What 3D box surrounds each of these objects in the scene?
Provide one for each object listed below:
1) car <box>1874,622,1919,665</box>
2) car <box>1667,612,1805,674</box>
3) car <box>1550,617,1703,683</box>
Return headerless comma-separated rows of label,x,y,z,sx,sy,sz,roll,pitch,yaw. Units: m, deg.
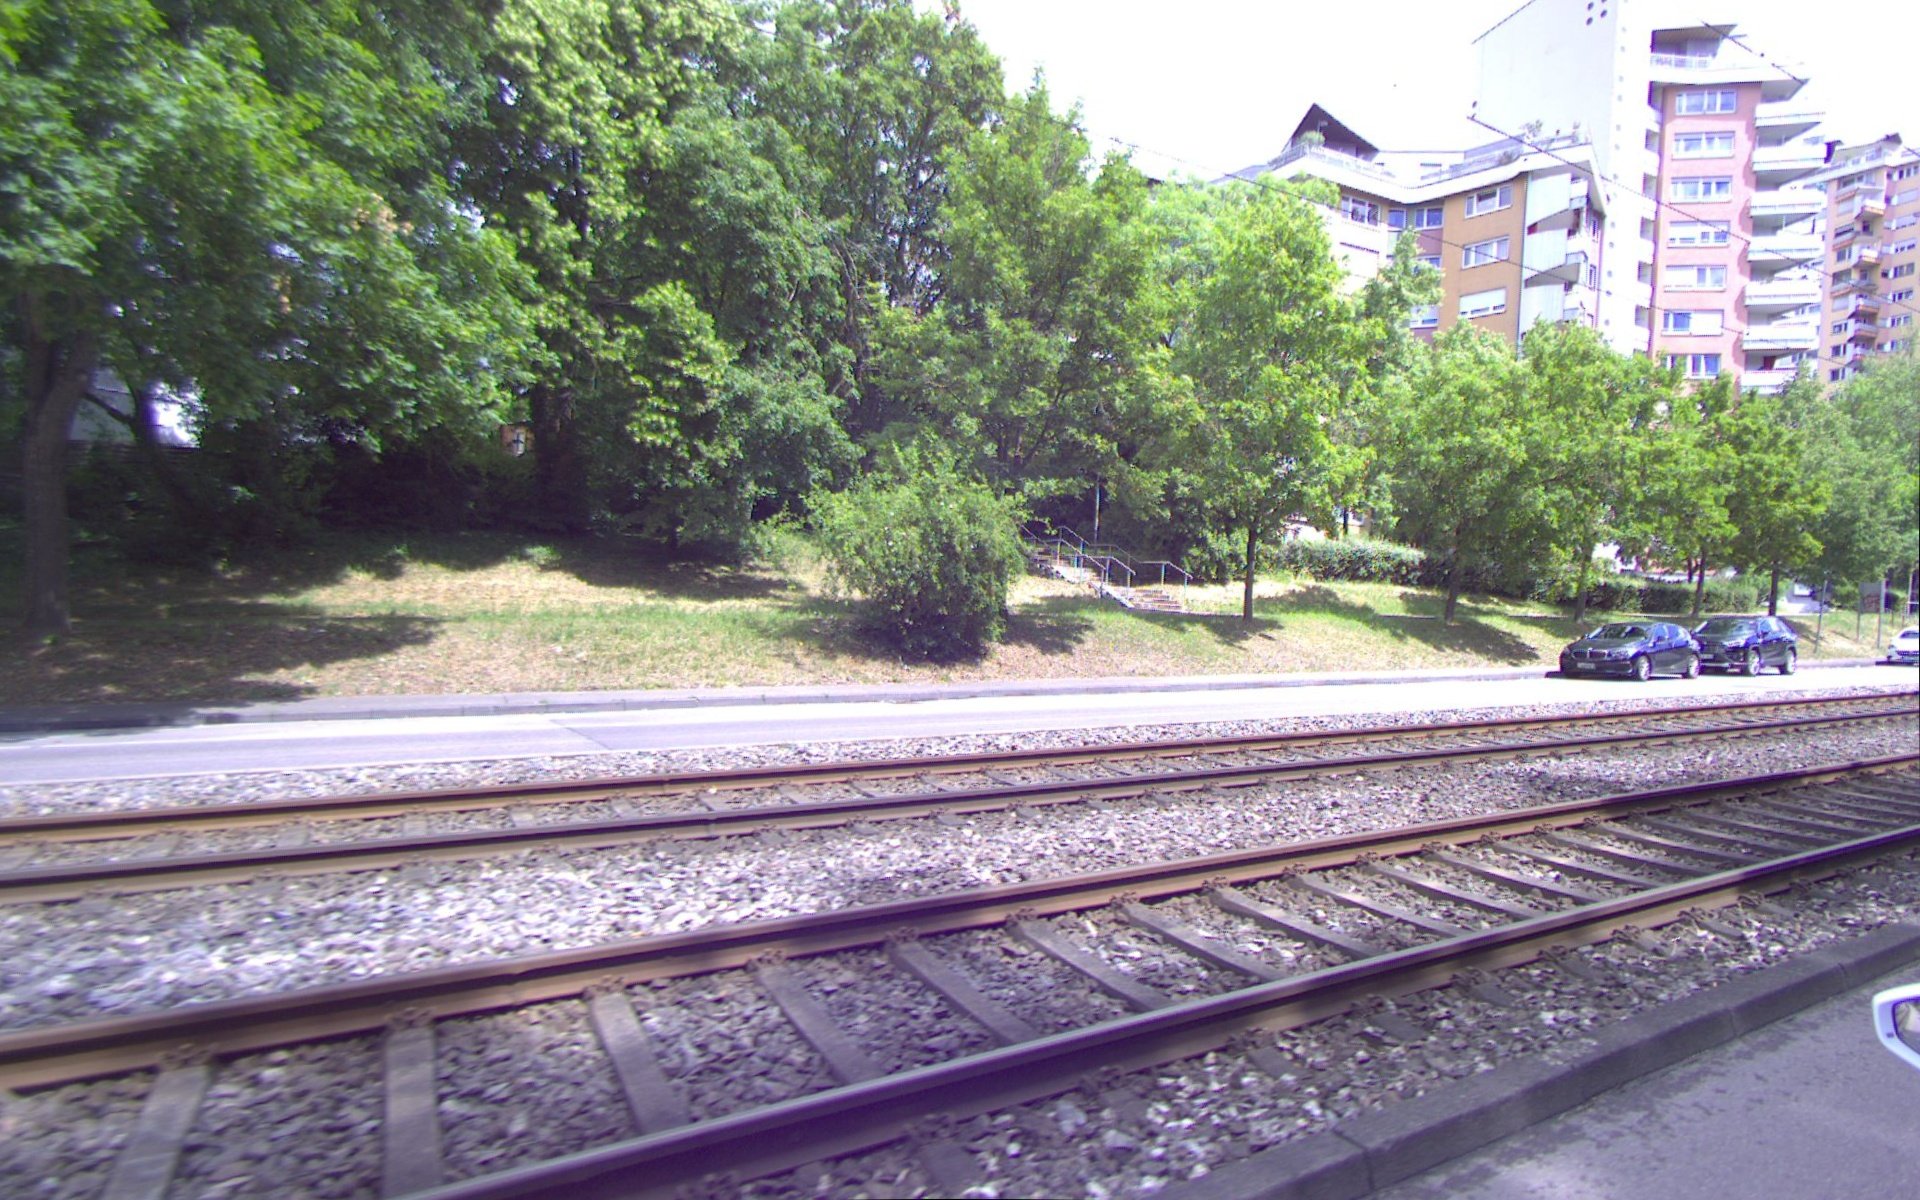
car,36.470,1.630,38.131,4.202,1.552,1.769,1,-1,-35
car,22.203,1.231,28.701,4.334,1.651,1.765,2,-1,-32
car,16.915,1.222,25.454,3.953,1.518,1.764,1,0,-32
